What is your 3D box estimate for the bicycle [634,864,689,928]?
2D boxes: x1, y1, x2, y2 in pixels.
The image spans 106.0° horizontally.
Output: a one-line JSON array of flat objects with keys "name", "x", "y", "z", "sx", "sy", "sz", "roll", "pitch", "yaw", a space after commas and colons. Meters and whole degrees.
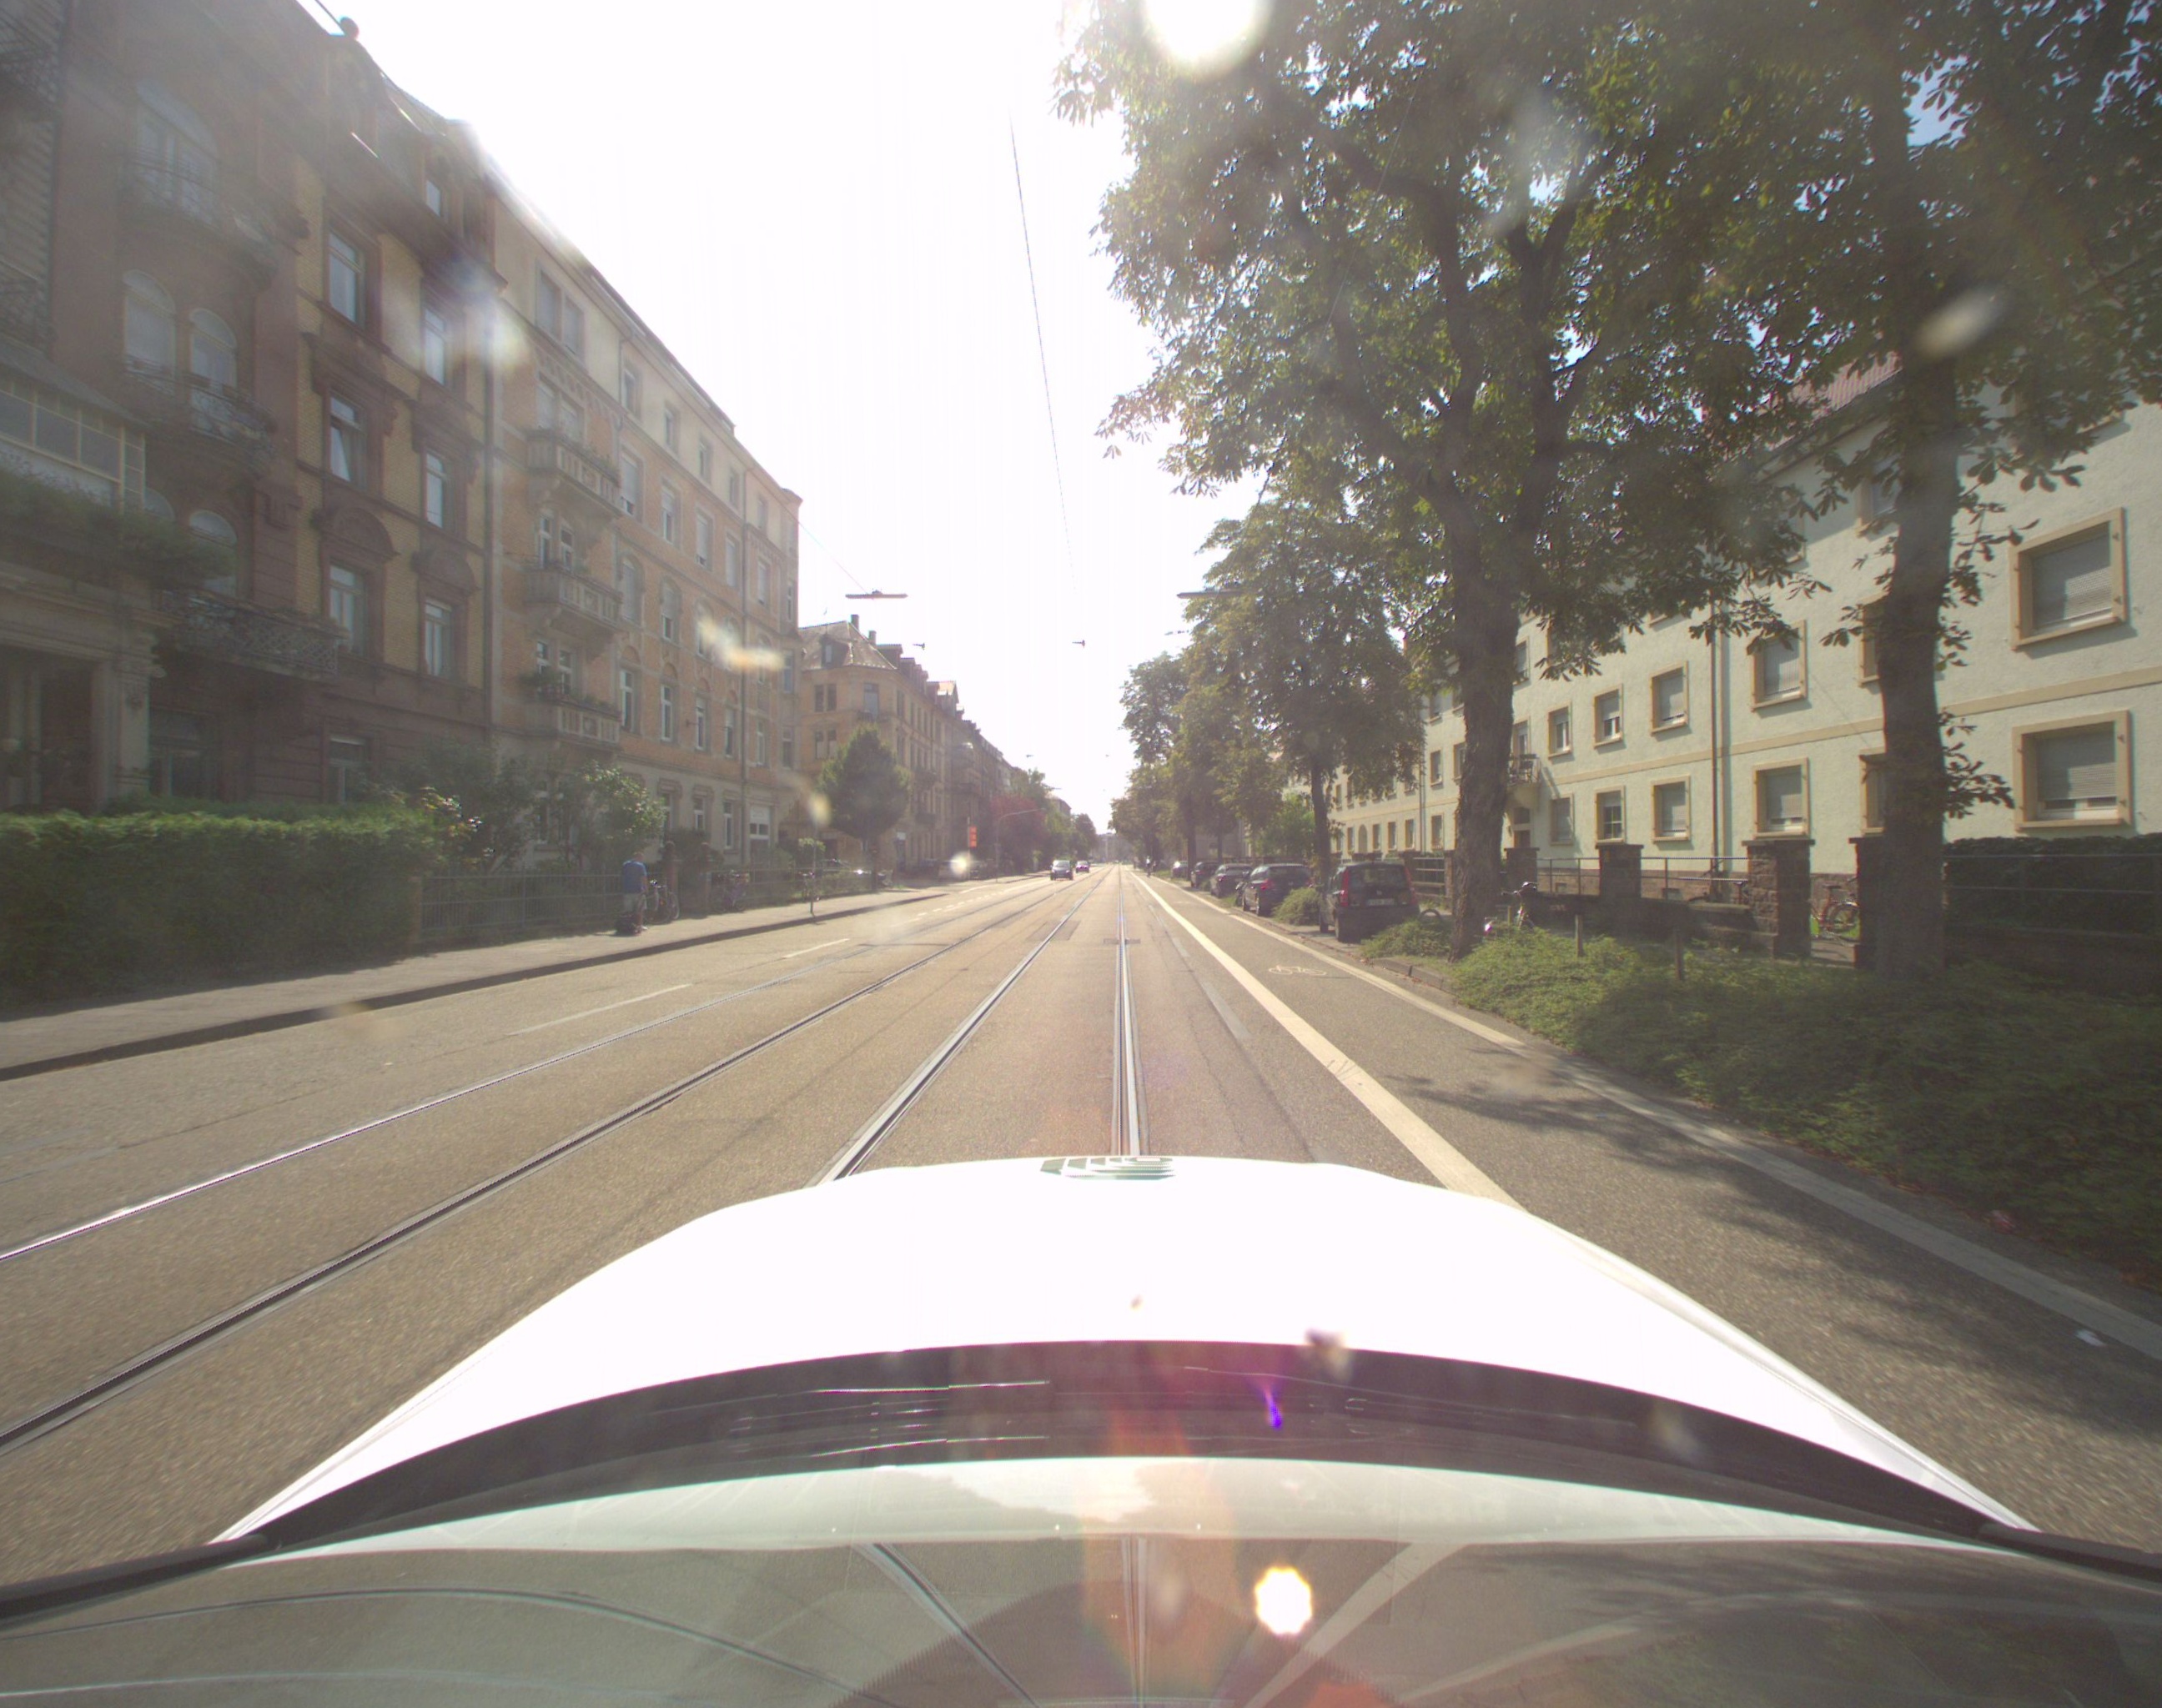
[{"name": "bicycle", "x": -9.793, "y": 0.957, "z": 19.070, "sx": 0.388, "sy": 1.406, "sz": 1.583, "roll": 0, "pitch": 0, "yaw": 4}]

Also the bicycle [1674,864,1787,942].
[{"name": "bicycle", "x": 10.362, "y": 0.745, "z": 13.073, "sx": 0.466, "sy": 1.160, "sz": 1.718, "roll": 0, "pitch": 0, "yaw": 2}]

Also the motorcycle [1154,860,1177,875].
[{"name": "motorcycle", "x": 9.049, "y": 1.491, "z": 87.498, "sx": 2.317, "sy": 1.540, "sz": 0.974, "roll": -4, "pitch": -3, "yaw": 44}]

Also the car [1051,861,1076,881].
[{"name": "car", "x": -1.388, "y": 1.332, "z": 66.348, "sx": 1.820, "sy": 1.540, "sz": 4.002, "roll": -1, "pitch": 0, "yaw": 2}]

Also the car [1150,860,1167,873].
[{"name": "car", "x": 9.796, "y": 1.539, "z": 103.242, "sx": 1.833, "sy": 1.532, "sz": 4.118, "roll": -1, "pitch": 1, "yaw": 2}]

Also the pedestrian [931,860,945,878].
[{"name": "pedestrian", "x": -11.977, "y": 1.223, "z": 68.111, "sx": 0.888, "sy": 1.511, "sz": 0.862, "roll": 0, "pitch": -1, "yaw": -29}]

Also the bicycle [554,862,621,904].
[{"name": "bicycle", "x": -12.143, "y": 0.706, "z": 20.054, "sx": 1.394, "sy": 1.032, "sz": 0.391, "roll": 0, "pitch": 0, "yaw": 0}]

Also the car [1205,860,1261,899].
[{"name": "car", "x": 6.548, "y": 1.058, "z": 35.546, "sx": 1.748, "sy": 1.477, "sz": 4.460, "roll": -4, "pitch": -1, "yaw": 3}]

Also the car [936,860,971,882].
[{"name": "car", "x": -9.544, "y": 1.239, "z": 61.302, "sx": 1.988, "sy": 1.594, "sz": 4.357, "roll": -1, "pitch": 0, "yaw": -1}]

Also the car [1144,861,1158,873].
[{"name": "car", "x": 10.153, "y": 1.881, "z": 118.432, "sx": 1.833, "sy": 1.532, "sz": 4.782, "roll": -2, "pitch": -1, "yaw": 2}]

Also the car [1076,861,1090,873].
[{"name": "car", "x": 0.266, "y": 1.651, "z": 105.914, "sx": 1.725, "sy": 1.490, "sz": 4.002, "roll": -1, "pitch": 0, "yaw": 2}]

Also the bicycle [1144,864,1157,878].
[{"name": "bicycle", "x": 6.310, "y": 1.540, "z": 73.834, "sx": 1.142, "sy": 1.269, "sz": 2.715, "roll": -1, "pitch": 0, "yaw": 4}]

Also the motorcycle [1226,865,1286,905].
[{"name": "motorcycle", "x": 6.250, "y": 1.096, "z": 29.159, "sx": 1.997, "sy": 1.368, "sz": 0.782, "roll": -1, "pitch": -1, "yaw": -1}]

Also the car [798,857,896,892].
[{"name": "car", "x": -11.254, "y": 0.968, "z": 39.312, "sx": 4.083, "sy": 1.594, "sz": 1.881, "roll": 1, "pitch": 0, "yaw": 4}]

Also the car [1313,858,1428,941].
[{"name": "car", "x": 5.872, "y": 0.859, "z": 16.897, "sx": 1.607, "sy": 1.530, "sz": 3.508, "roll": -2, "pitch": -1, "yaw": 9}]

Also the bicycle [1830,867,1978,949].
[{"name": "bicycle", "x": 12.000, "y": 0.756, "z": 11.955, "sx": 0.466, "sy": 1.093, "sz": 1.718, "roll": 0, "pitch": 0, "yaw": 2}]

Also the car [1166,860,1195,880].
[{"name": "car", "x": 7.790, "y": 1.244, "z": 64.211, "sx": 1.885, "sy": 1.477, "sz": 4.843, "roll": 0, "pitch": 0, "yaw": 2}]

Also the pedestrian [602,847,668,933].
[{"name": "pedestrian", "x": -9.322, "y": 0.743, "z": 17.043, "sx": 0.880, "sy": 1.756, "sz": 0.871, "roll": 0, "pitch": -1, "yaw": 2}]

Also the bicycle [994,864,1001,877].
[{"name": "bicycle", "x": -7.259, "y": 1.393, "z": 70.779, "sx": 0.389, "sy": 1.099, "sz": 1.568, "roll": 0, "pitch": 0, "yaw": 0}]

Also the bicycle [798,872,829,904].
[{"name": "bicycle", "x": -9.339, "y": 1.164, "z": 28.493, "sx": 0.388, "sy": 1.038, "sz": 1.835, "roll": 0, "pitch": 0, "yaw": 4}]

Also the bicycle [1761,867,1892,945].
[{"name": "bicycle", "x": 11.373, "y": 0.762, "z": 12.495, "sx": 0.466, "sy": 1.093, "sz": 1.718, "roll": 0, "pitch": 0, "yaw": 2}]

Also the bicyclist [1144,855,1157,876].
[{"name": "bicyclist", "x": 6.288, "y": 1.024, "z": 73.681, "sx": 1.120, "sy": 1.837, "sz": 0.956, "roll": 0, "pitch": -1, "yaw": 3}]

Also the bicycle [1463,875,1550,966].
[{"name": "bicycle", "x": 5.661, "y": 0.854, "z": 10.812, "sx": 1.397, "sy": 1.108, "sz": 0.385, "roll": 0, "pitch": -1, "yaw": -33}]

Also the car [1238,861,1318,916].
[{"name": "car", "x": 5.881, "y": 0.987, "z": 24.754, "sx": 1.610, "sy": 1.477, "sz": 4.042, "roll": -2, "pitch": 0, "yaw": 3}]

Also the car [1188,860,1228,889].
[{"name": "car", "x": 7.123, "y": 1.122, "z": 46.029, "sx": 1.749, "sy": 1.477, "sz": 4.388, "roll": 0, "pitch": 0, "yaw": 2}]

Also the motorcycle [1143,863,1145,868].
[{"name": "motorcycle", "x": 13.358, "y": 2.418, "z": 172.672, "sx": 0.546, "sy": 1.068, "sz": 2.332, "roll": 0, "pitch": -1, "yaw": 3}]

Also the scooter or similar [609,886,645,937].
[{"name": "scooter or similar", "x": -9.093, "y": 1.136, "z": 16.309, "sx": 0.399, "sy": 0.982, "sz": 0.583, "roll": 1, "pitch": -1, "yaw": -5}]

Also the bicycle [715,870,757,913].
[{"name": "bicycle", "x": -9.586, "y": 1.024, "z": 22.664, "sx": 0.388, "sy": 1.147, "sz": 1.583, "roll": 0, "pitch": 0, "yaw": 4}]
